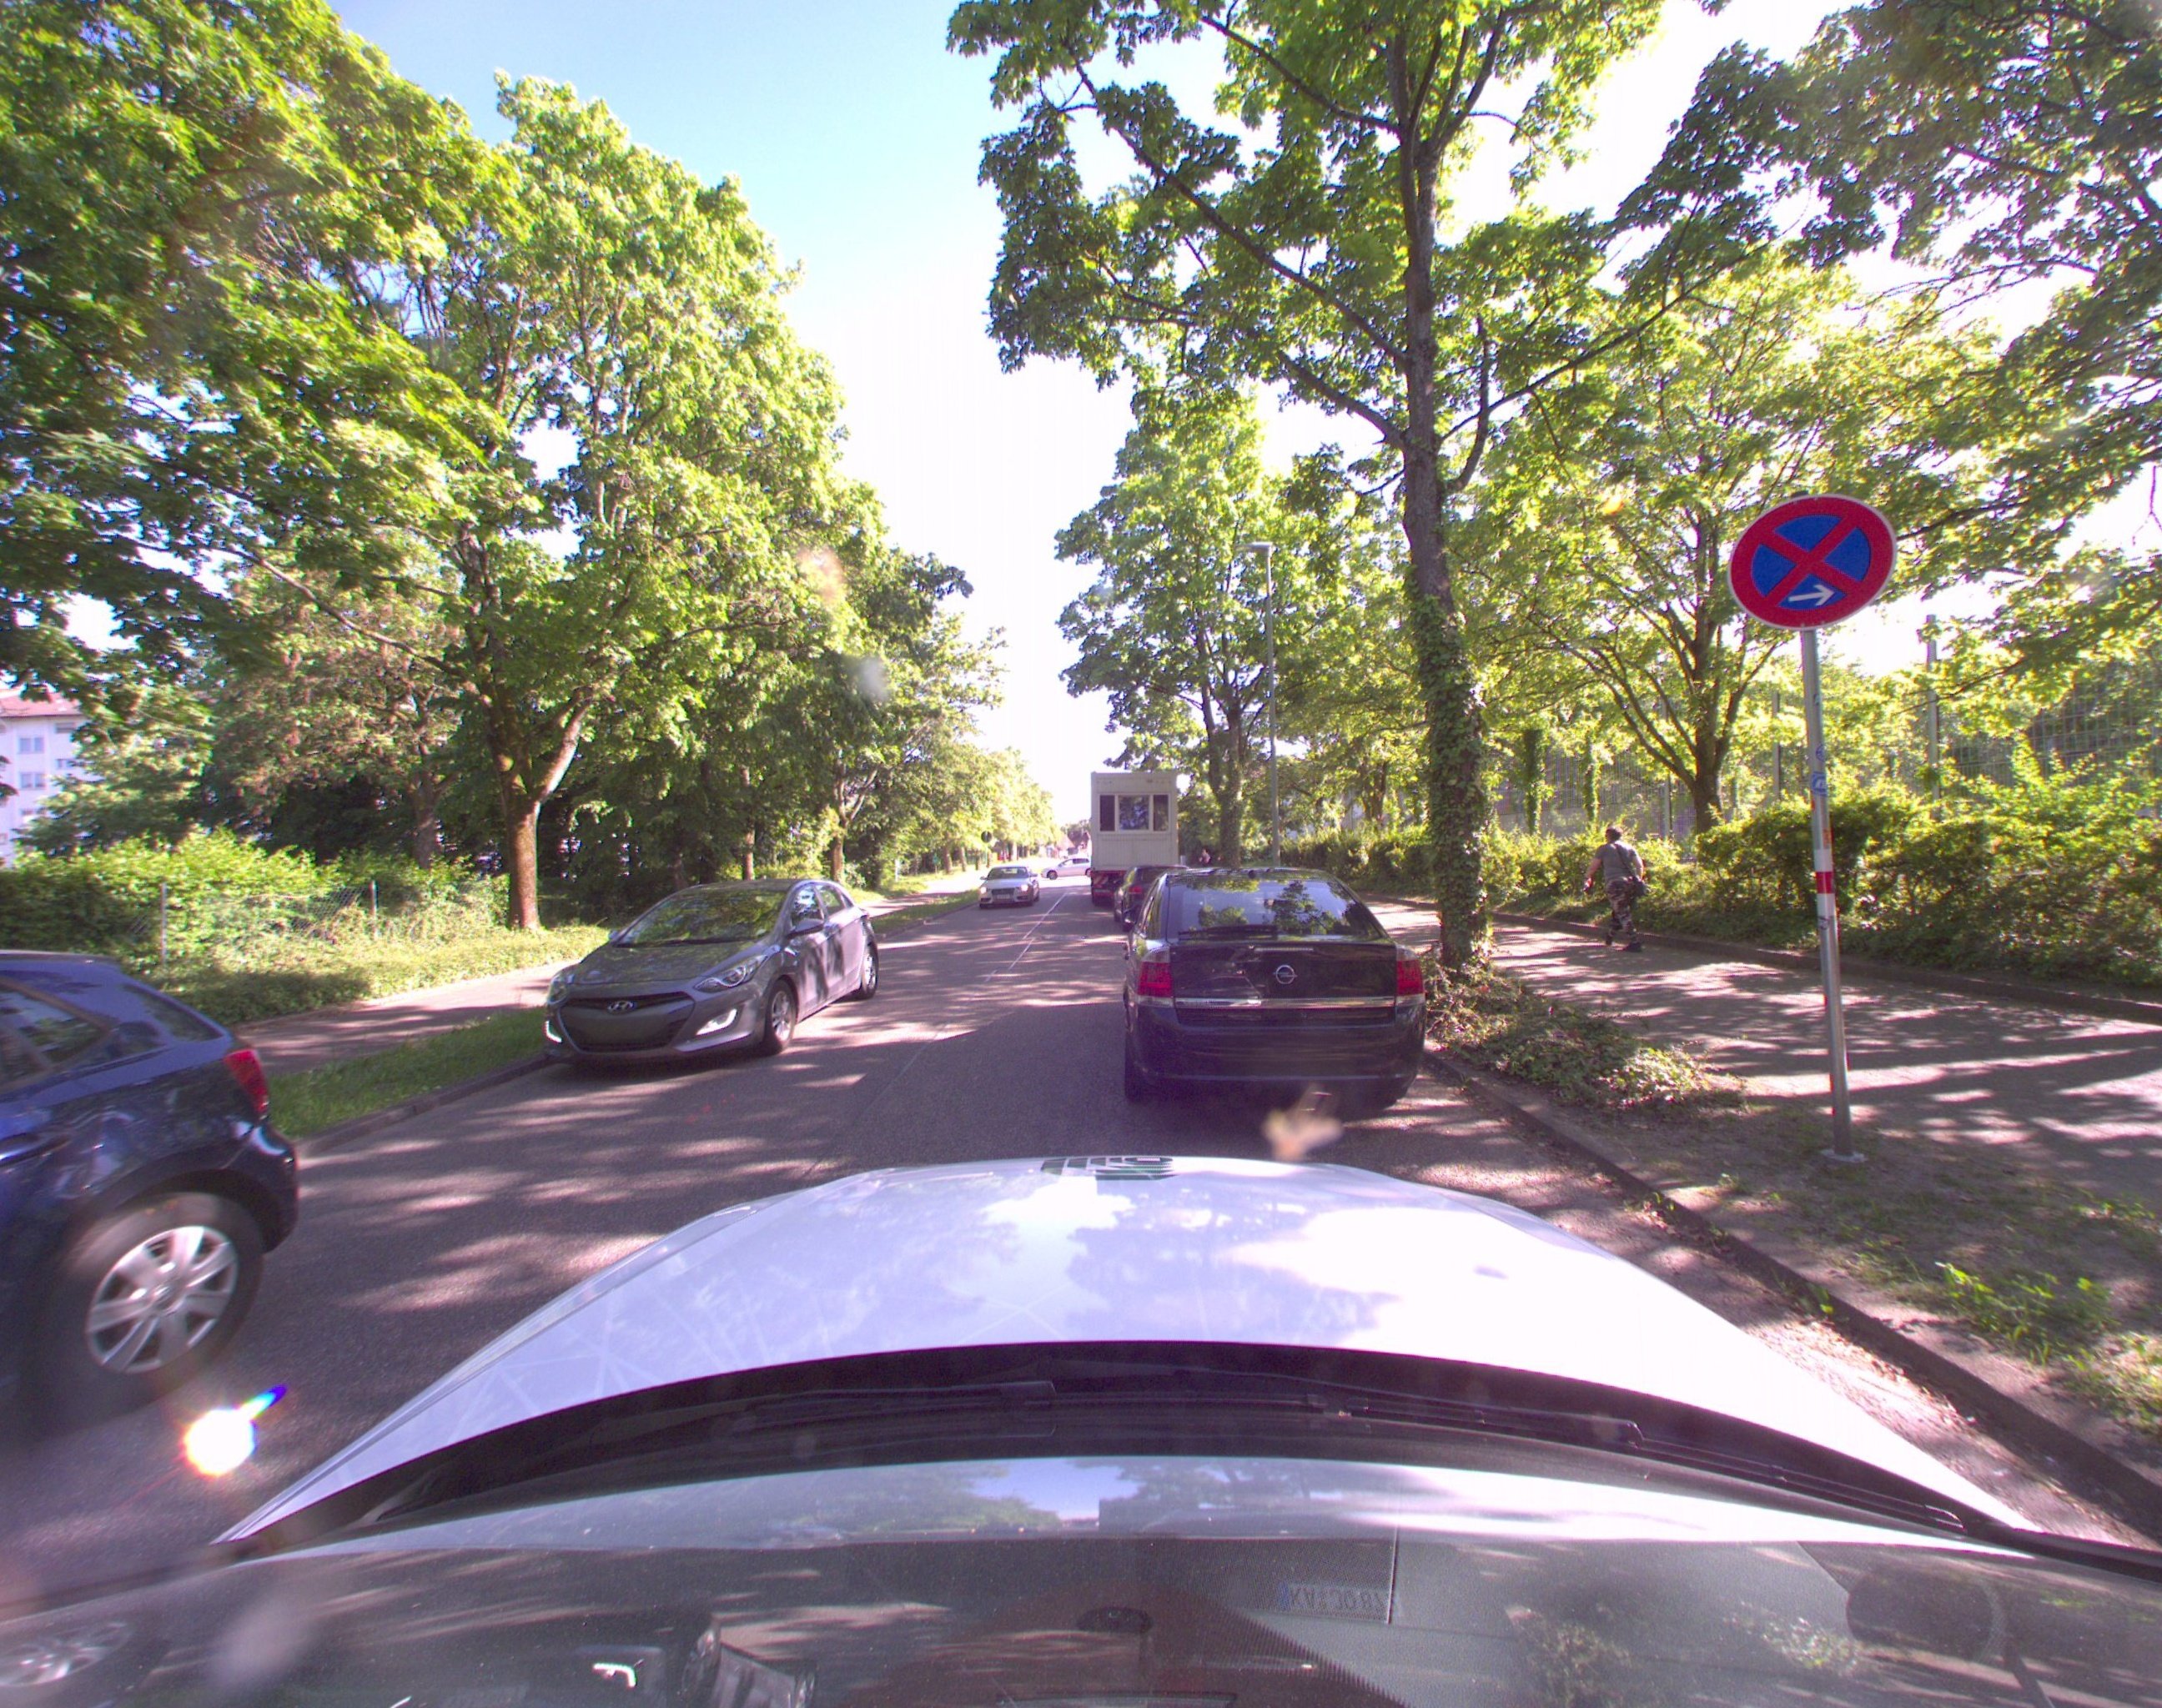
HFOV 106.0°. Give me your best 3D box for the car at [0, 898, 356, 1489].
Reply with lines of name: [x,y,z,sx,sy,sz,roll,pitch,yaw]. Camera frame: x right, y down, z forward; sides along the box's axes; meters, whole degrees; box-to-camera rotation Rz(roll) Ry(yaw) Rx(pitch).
car: [-3.579,0.931,1.198,1.595,1.426,3.654,-3,0,2]

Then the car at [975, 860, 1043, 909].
car: [-2.442,1.011,28.567,1.779,1.416,4.107,-3,0,3]

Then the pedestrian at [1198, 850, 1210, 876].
pedestrian: [7.995,0.585,52.992,0.597,1.611,0.600,-3,0,-2]

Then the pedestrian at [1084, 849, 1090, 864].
pedestrian: [0.861,0.342,115.119,0.749,2.113,0.800,0,0,4]

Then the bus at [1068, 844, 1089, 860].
bus: [-0.524,-0.539,183.407,4.048,3.349,9.810,-3,0,3]

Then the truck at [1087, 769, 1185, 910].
truck: [1.640,-0.423,28.447,2.763,3.996,10.349,0,0,1]

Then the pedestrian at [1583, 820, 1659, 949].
pedestrian: [6.974,0.388,10.537,0.568,1.608,0.673,-1,0,10]

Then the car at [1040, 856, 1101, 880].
car: [-0.706,0.971,56.446,3.928,1.420,1.814,-4,0,4]

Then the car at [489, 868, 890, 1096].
car: [-3.315,0.955,7.984,1.749,1.454,4.243,-3,0,1]

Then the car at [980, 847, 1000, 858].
car: [-19.216,-0.362,172.197,3.971,2.013,2.001,-4,0,2]

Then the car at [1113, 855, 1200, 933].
car: [1.613,0.796,18.164,1.633,1.420,4.004,-3,0,3]

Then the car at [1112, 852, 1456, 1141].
car: [1.157,0.764,6.247,1.741,1.480,4.033,-1,-1,3]

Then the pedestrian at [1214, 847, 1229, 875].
pedestrian: [9.139,0.449,52.955,0.696,1.812,0.699,-3,0,-2]
